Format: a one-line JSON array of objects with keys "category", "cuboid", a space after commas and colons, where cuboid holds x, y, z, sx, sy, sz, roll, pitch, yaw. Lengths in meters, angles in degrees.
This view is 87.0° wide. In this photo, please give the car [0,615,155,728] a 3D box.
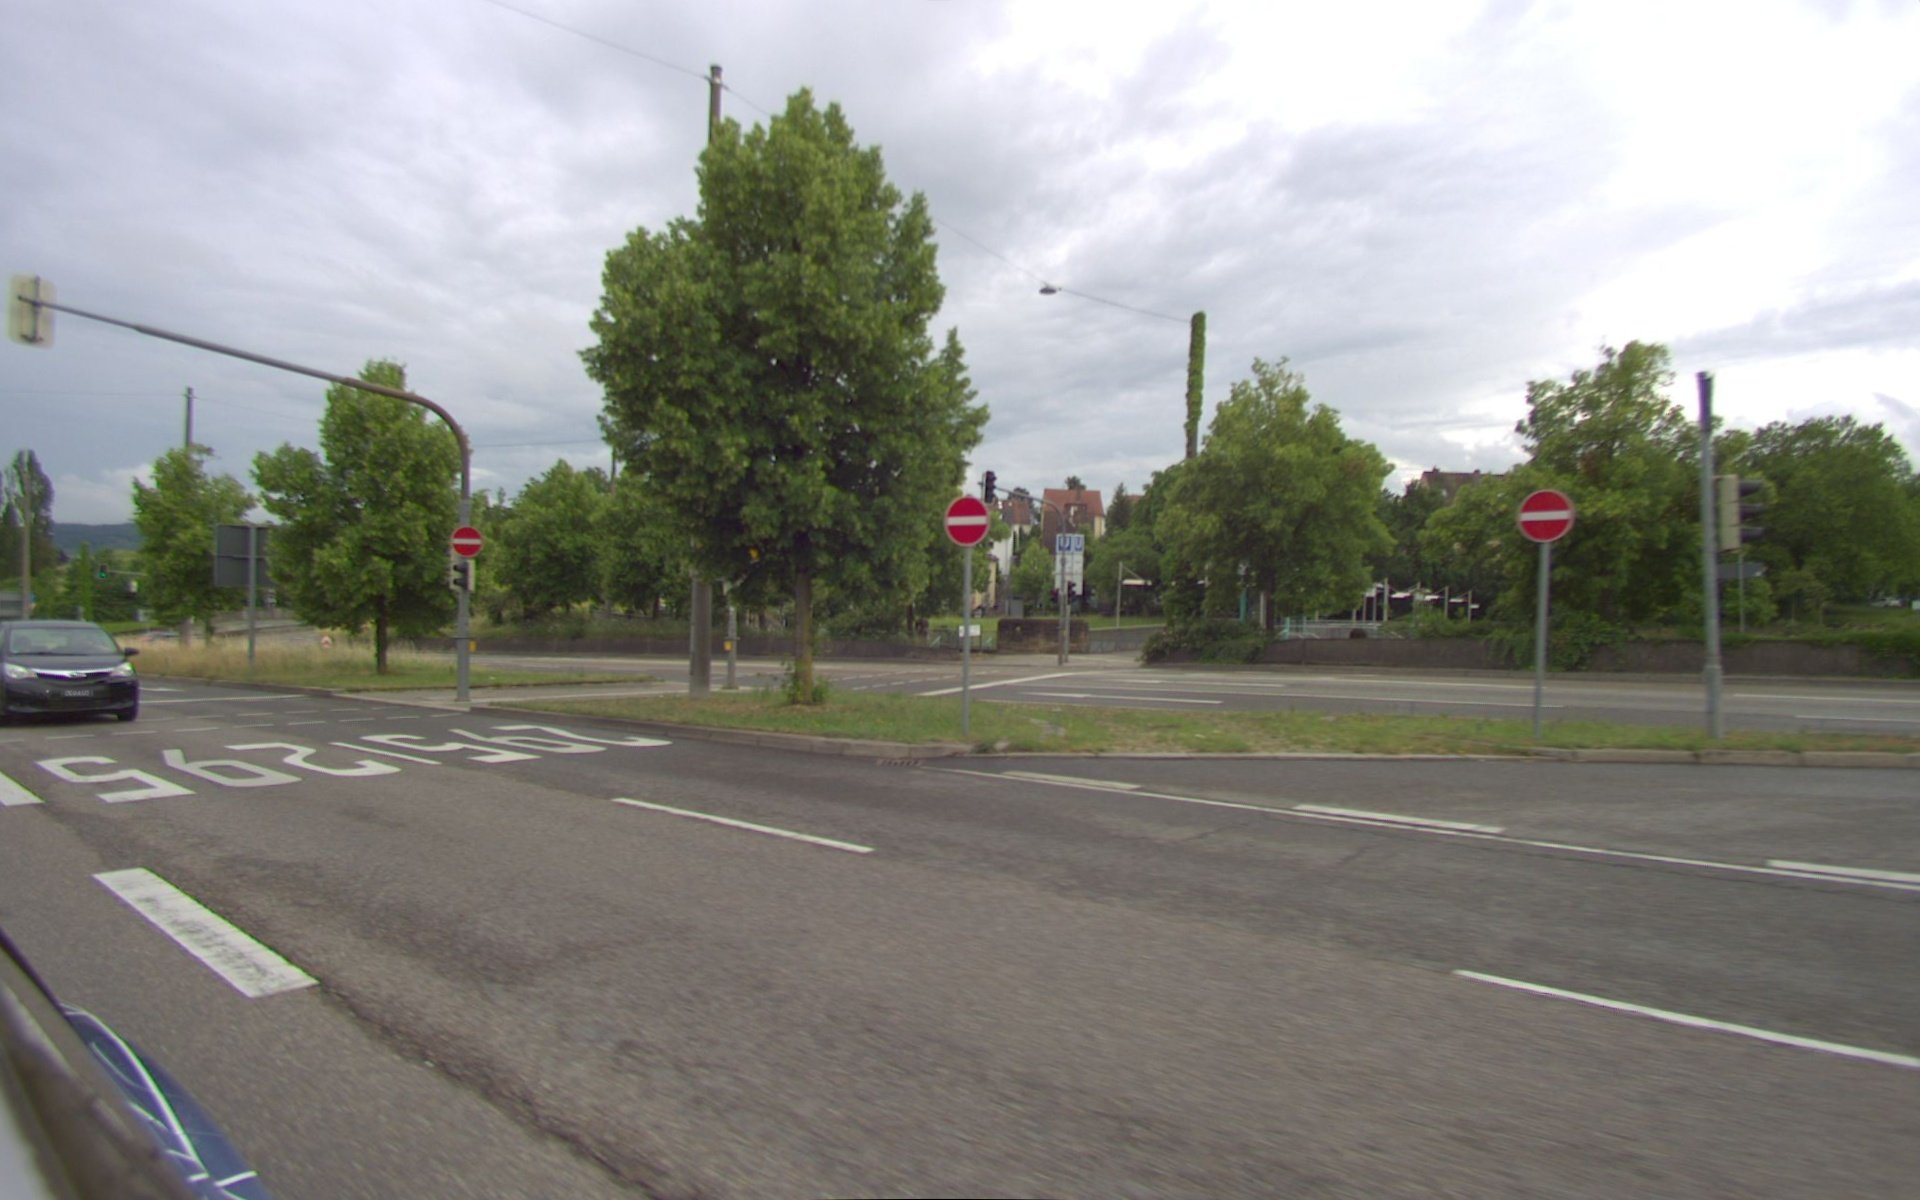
[{"category": "car", "cuboid": [-14.501, 1.121, 16.001, 4.035, 1.578, 1.779, -3, -4, 37]}]

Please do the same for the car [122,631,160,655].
[{"category": "car", "cuboid": [-74.813, 3.910, 92.509, 1.966, 2.029, 4.012, -3, -1, -29]}]

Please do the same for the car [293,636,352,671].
[{"category": "car", "cuboid": [-39.037, 3.246, 61.959, 3.999, 2.029, 1.972, -2, -3, 42]}]

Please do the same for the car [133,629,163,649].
[{"category": "car", "cuboid": [-89.278, 4.345, 111.290, 1.966, 2.029, 4.012, -1, -3, -29]}]
